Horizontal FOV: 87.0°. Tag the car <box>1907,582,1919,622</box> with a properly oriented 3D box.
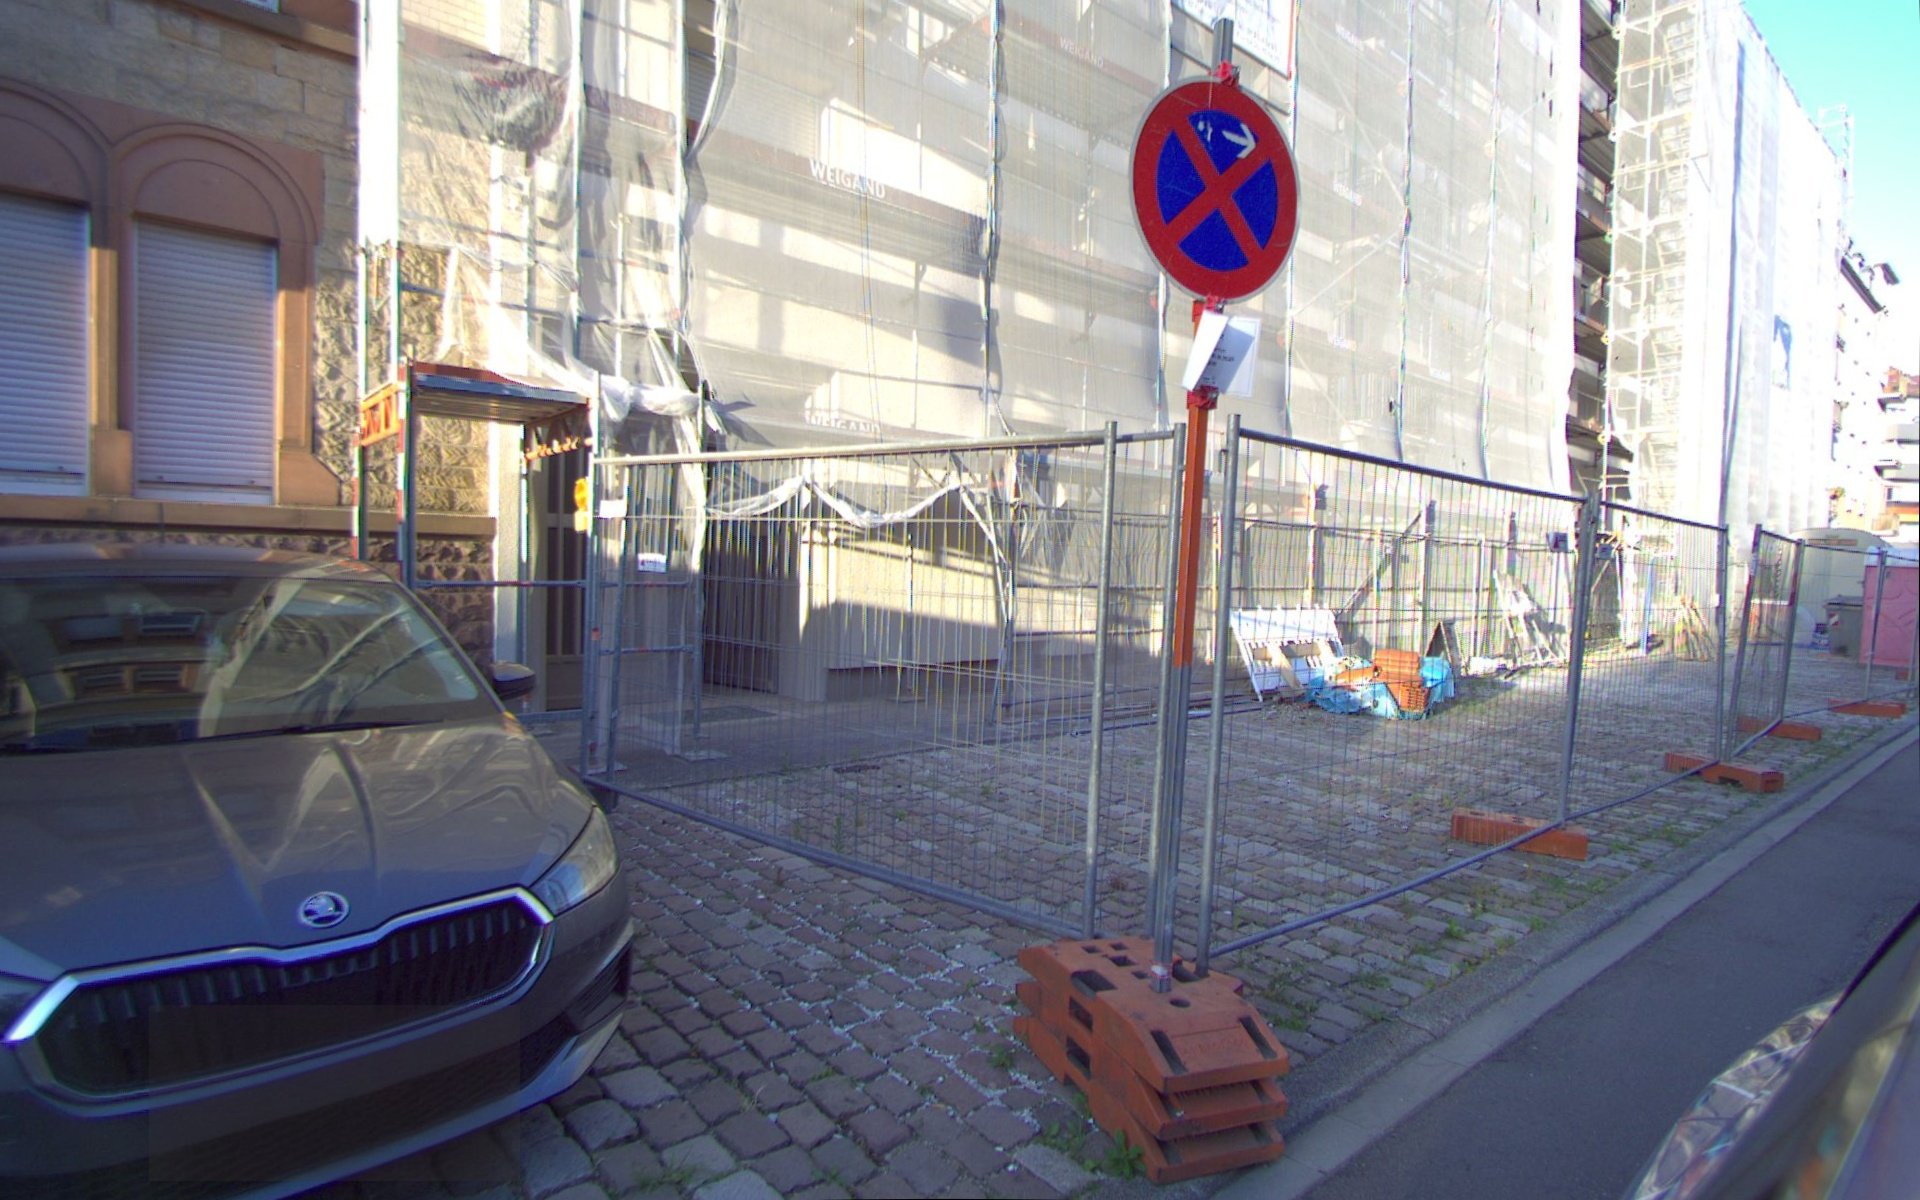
[{"bbox_3d":[41.295,0.138,41.123,1.871,1.658,3.992,0,2,-43],"label":"car"}]

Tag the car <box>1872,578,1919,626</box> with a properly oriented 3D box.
[{"bbox_3d":[34.048,0.115,34.485,1.838,1.635,4.164,0,2,-39],"label":"car"}]

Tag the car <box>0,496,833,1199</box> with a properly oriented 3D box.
[{"bbox_3d":[-2.460,0.459,3.465,1.987,1.533,3.992,-1,5,-44],"label":"car"}]

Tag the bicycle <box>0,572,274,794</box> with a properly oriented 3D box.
[{"bbox_3d":[-5.174,0.433,5.772,0.630,1.183,2.003,1,1,43],"label":"bicycle"}]
